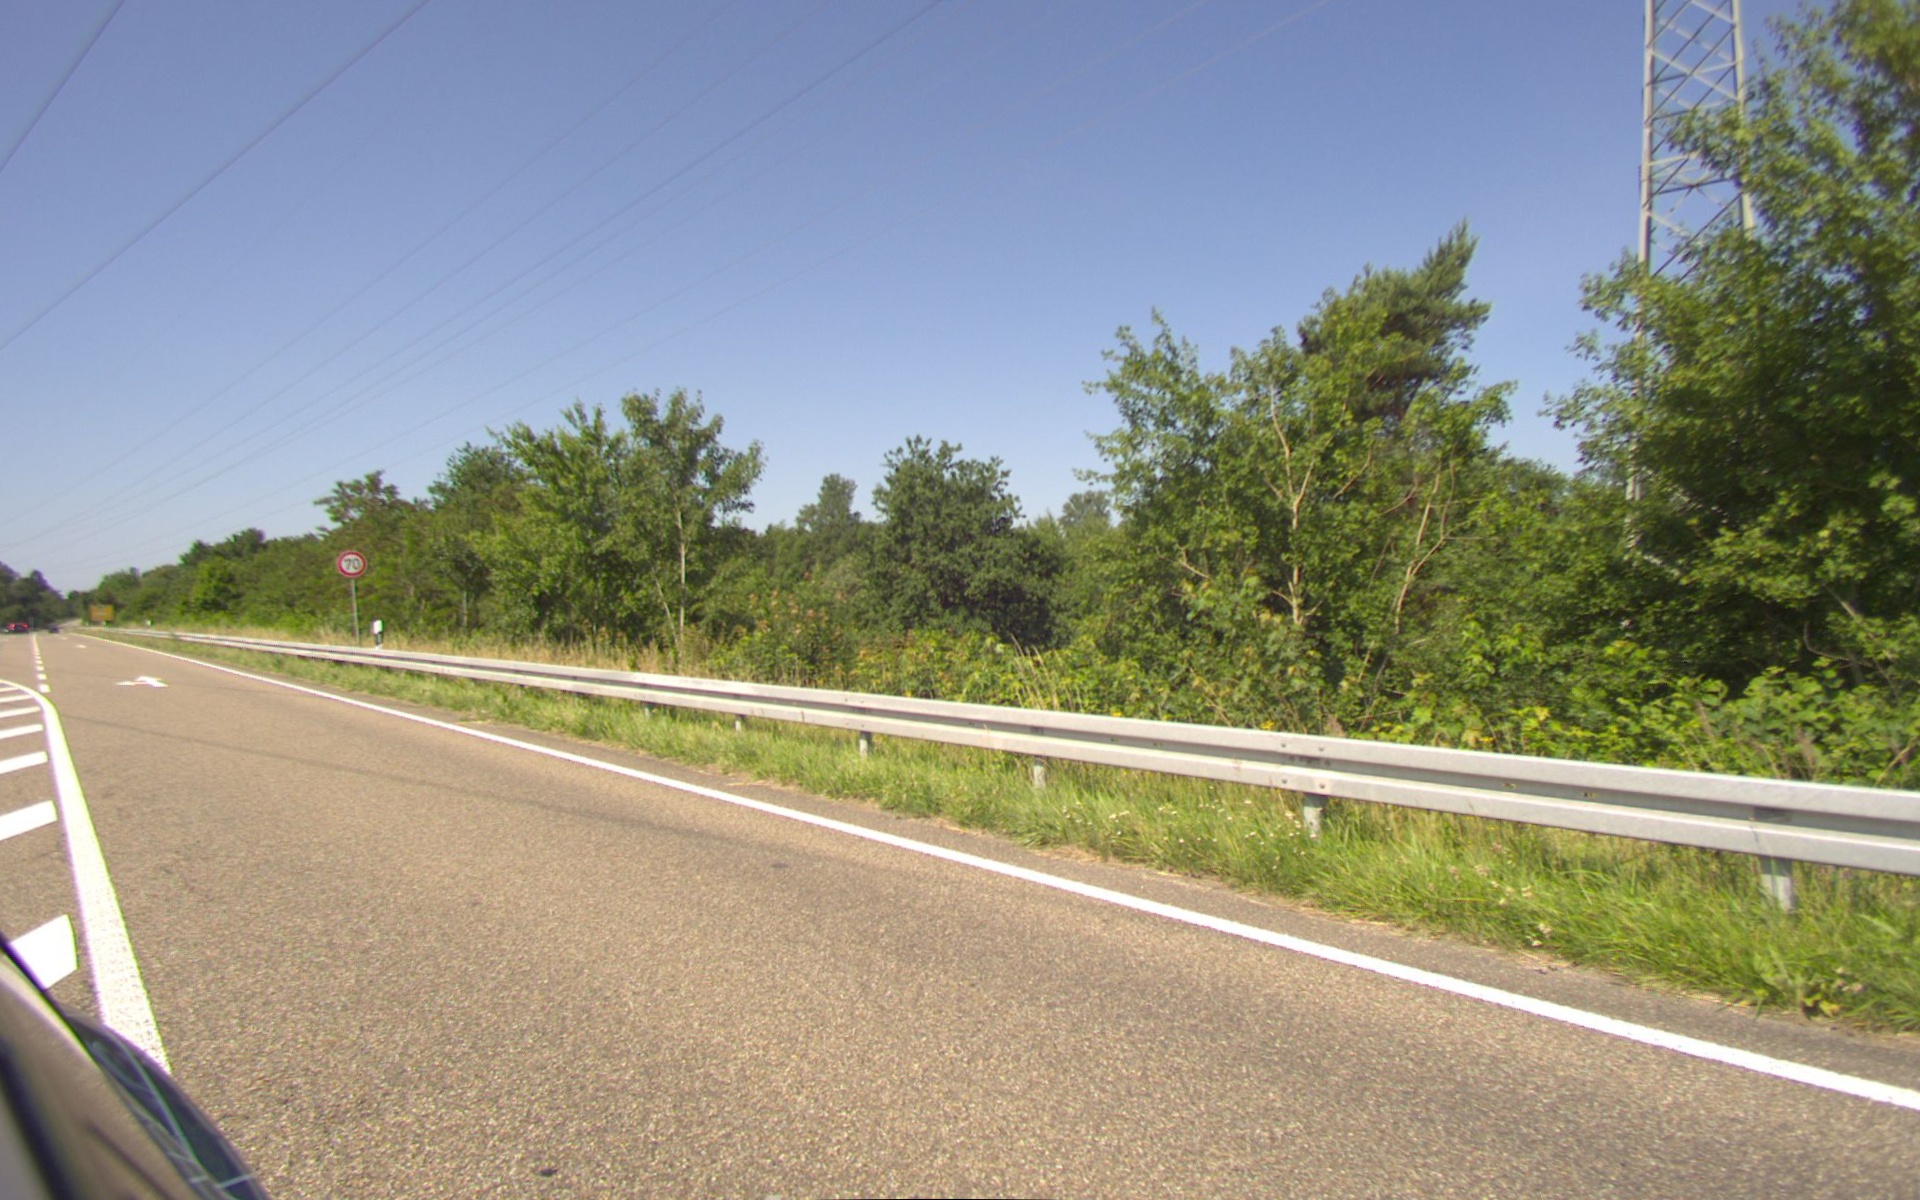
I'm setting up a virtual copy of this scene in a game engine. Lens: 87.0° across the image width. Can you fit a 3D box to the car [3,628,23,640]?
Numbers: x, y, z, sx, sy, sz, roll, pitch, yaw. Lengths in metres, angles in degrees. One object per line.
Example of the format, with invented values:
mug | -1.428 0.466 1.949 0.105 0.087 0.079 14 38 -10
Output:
car | -126.577 4.499 135.216 1.807 1.595 4.002 2 -2 -45
